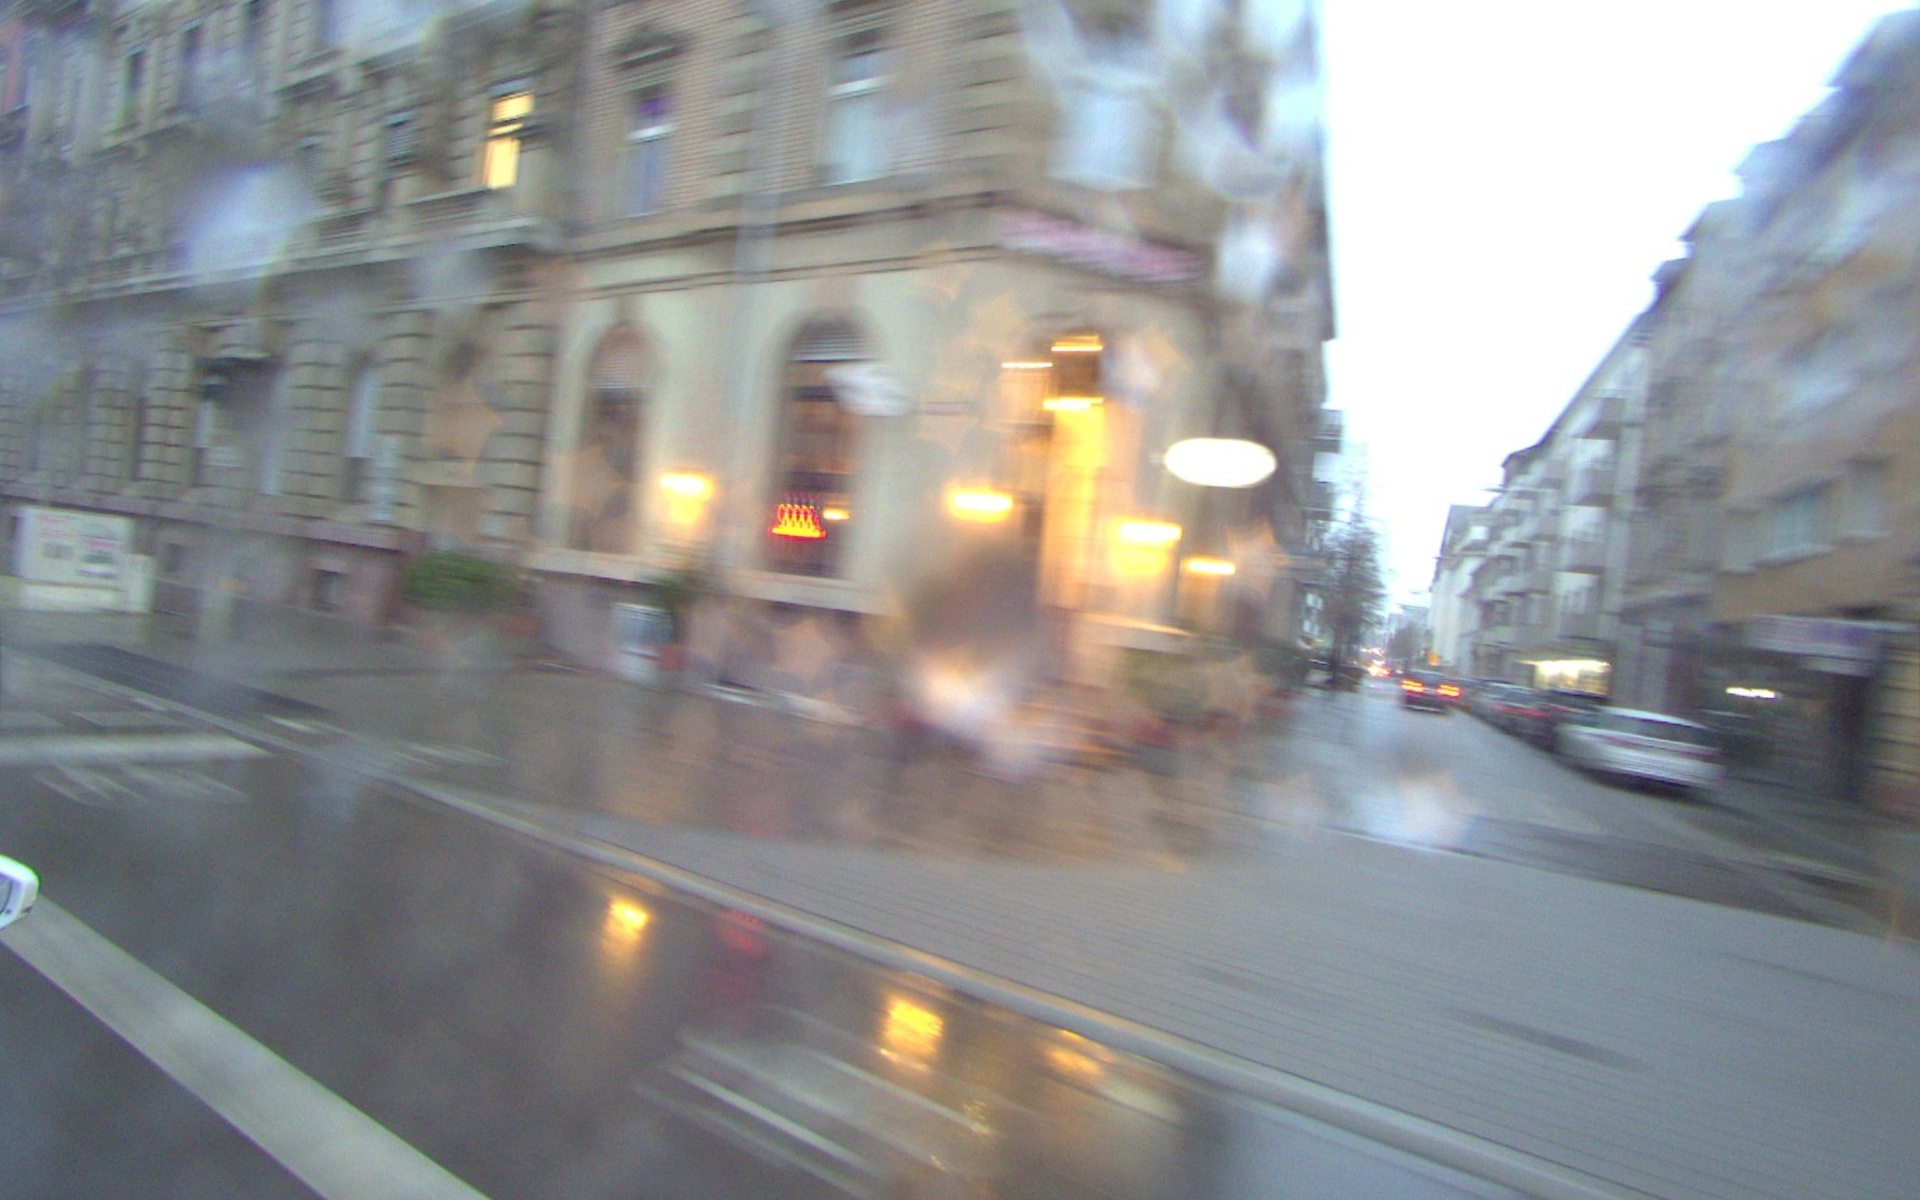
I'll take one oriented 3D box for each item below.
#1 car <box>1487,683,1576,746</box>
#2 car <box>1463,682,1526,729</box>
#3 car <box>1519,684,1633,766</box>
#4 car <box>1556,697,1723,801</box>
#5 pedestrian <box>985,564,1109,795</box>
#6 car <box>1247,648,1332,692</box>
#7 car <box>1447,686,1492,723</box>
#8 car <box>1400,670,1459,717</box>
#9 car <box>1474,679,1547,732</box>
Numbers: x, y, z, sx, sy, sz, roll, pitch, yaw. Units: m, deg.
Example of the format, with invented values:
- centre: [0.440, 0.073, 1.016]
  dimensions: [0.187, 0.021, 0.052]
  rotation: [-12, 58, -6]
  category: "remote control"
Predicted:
- centre: [17.905, 3.533, 31.690]
  dimensions: [1.769, 1.535, 4.278]
  rotation: [7, 0, 23]
  category: "car"
- centre: [22.431, 4.377, 42.352]
  dimensions: [1.769, 1.535, 4.278]
  rotation: [7, 0, 23]
  category: "car"
- centre: [15.995, 3.191, 26.345]
  dimensions: [1.769, 1.640, 4.112]
  rotation: [7, 0, 23]
  category: "car"
- centre: [13.270, 2.837, 19.926]
  dimensions: [1.818, 1.437, 4.192]
  rotation: [7, 0, 23]
  category: "car"
- centre: [0.818, 0.750, 9.757]
  dimensions: [0.901, 2.038, 0.856]
  rotation: [7, 0, 2]
  category: "pedestrian"
- centre: [17.058, 3.606, 52.148]
  dimensions: [3.549, 1.747, 1.889]
  rotation: [8, -2, -4]
  category: "car"
- centre: [26.698, 5.422, 52.797]
  dimensions: [1.769, 1.535, 4.277]
  rotation: [7, 0, 25]
  category: "car"
- centre: [19.133, 3.785, 41.125]
  dimensions: [1.918, 1.535, 4.277]
  rotation: [7, 0, 24]
  category: "car"
- centre: [20.348, 3.869, 37.320]
  dimensions: [1.769, 1.535, 4.278]
  rotation: [7, 0, 23]
  category: "car"
